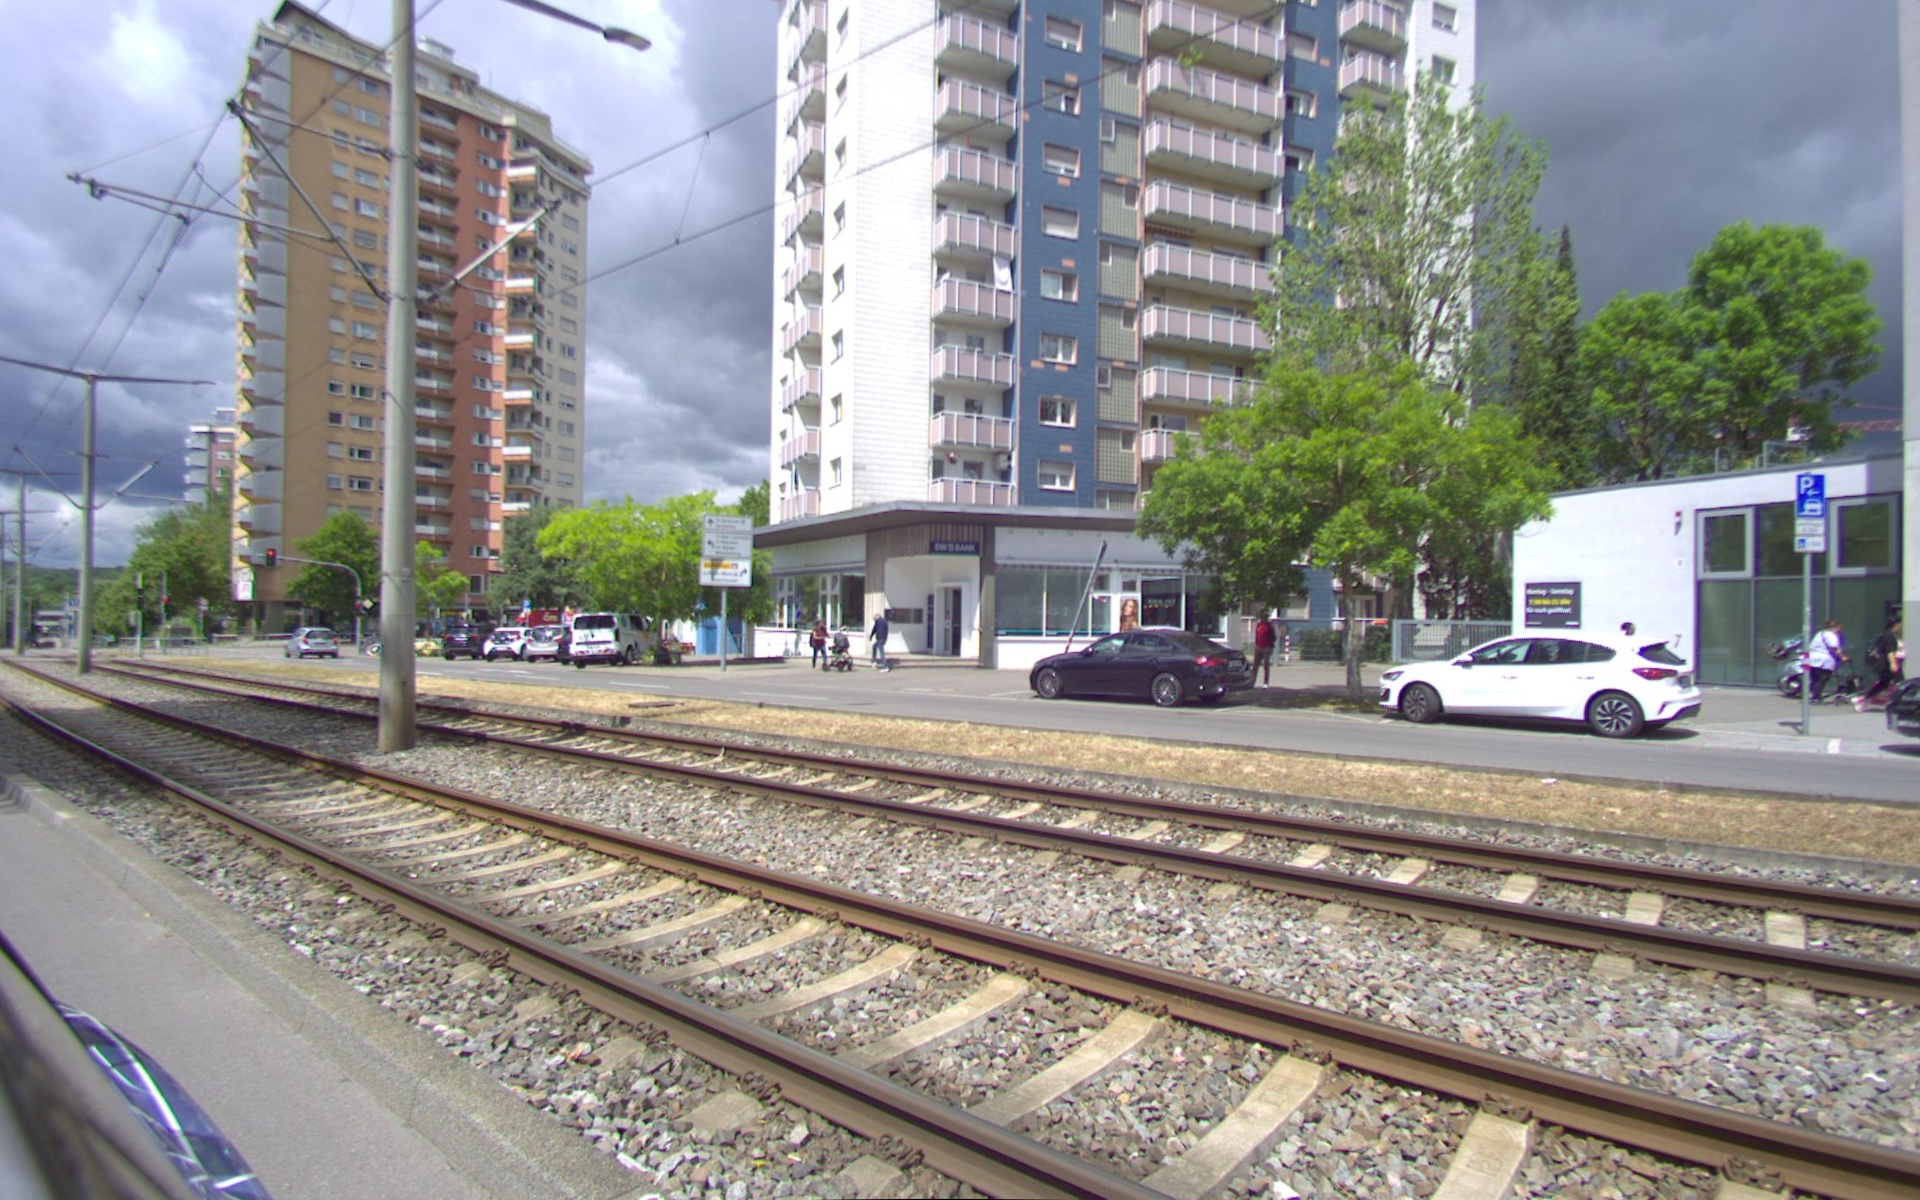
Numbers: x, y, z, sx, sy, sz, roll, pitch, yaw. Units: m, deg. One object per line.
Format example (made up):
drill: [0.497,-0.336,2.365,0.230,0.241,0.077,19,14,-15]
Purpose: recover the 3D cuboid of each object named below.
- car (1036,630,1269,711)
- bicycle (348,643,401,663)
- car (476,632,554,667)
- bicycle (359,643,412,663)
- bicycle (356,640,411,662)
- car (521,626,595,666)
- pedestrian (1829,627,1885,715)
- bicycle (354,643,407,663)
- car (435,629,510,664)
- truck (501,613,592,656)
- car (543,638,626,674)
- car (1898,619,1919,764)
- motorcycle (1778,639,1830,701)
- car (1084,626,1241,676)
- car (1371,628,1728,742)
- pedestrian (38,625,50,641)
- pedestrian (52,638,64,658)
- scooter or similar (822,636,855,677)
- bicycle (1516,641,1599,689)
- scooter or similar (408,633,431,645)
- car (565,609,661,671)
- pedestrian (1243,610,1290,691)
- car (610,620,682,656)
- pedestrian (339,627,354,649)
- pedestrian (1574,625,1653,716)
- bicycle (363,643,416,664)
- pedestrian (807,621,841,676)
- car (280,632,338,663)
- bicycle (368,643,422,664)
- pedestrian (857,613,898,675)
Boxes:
car: [3.725,1.338,20.183,4.382,1.439,1.715,-2,-3,45]
bicycle: [-32.547,2.970,56.278,0.705,1.074,2.400,-3,-4,43]
car: [-20.117,2.270,45.892,1.724,1.508,3.763,0,-3,2]
bicycle: [-31.340,2.919,55.222,0.705,1.074,2.400,-3,-4,43]
bicycle: [-29.886,2.629,52.487,0.717,1.042,2.400,-3,-2,43]
car: [-17.650,2.045,44.616,1.878,1.644,4.003,0,-3,-4]
pedestrian: [15.386,1.206,17.369,0.557,1.471,0.494,-1,-4,25]
bicycle: [-31.931,2.946,55.767,0.705,1.074,2.400,-3,-4,43]
car: [-23.629,2.284,49.206,1.903,1.604,4.004,1,-3,-5]
truck: [-36.968,3.168,90.576,6.989,3.703,2.550,3,-4,-41]
car: [-15.372,2.298,41.618,1.880,1.394,3.998,0,-3,1]
car: [13.313,1.013,11.228,4.096,1.675,1.973,-3,-2,40]
motorcycle: [16.979,1.397,20.380,0.741,1.187,1.873,-2,-4,39]
car: [6.204,1.585,31.195,4.284,1.454,2.005,1,-3,-12]
car: [8.844,1.228,15.512,1.733,1.486,4.405,3,-4,-42]
pedestrian: [-92.796,3.358,102.521,0.747,1.618,0.853,-3,-4,43]
pedestrian: [-88.947,4.762,99.820,0.573,1.946,0.760,-3,-4,42]
scooter or similar: [-3.551,1.642,29.578,0.571,1.133,0.771,-3,-1,-37]
bicycle: [15.452,1.677,26.185,1.940,1.221,0.671,1,-3,-16]
scooter or similar: [-50.598,3.630,94.751,0.545,1.102,1.729,-2,-4,39]
car: [-12.848,1.534,37.773,1.880,2.173,4.760,0,-3,1]
pedestrian: [7.017,1.148,23.168,0.843,1.806,0.604,-3,-4,42]
car: [-29.832,3.679,96.199,6.203,3.324,2.004,3,-4,-39]
pedestrian: [-54.133,3.346,89.330,0.853,1.949,0.908,-3,-4,43]
pedestrian: [11.408,1.220,17.686,0.593,1.545,0.975,3,-4,-35]
bicycle: [-30.814,2.894,54.707,0.705,1.074,2.400,-3,-4,43]
pedestrian: [-4.086,1.444,30.309,0.507,1.583,0.988,-2,-1,-37]
car: [-33.911,2.477,52.677,1.797,1.544,3.757,3,-4,-43]
bicycle: [-30.230,2.869,54.194,0.705,1.074,2.400,-3,-4,43]
pedestrian: [-2.448,1.303,29.970,0.872,1.806,0.833,-2,-4,37]
